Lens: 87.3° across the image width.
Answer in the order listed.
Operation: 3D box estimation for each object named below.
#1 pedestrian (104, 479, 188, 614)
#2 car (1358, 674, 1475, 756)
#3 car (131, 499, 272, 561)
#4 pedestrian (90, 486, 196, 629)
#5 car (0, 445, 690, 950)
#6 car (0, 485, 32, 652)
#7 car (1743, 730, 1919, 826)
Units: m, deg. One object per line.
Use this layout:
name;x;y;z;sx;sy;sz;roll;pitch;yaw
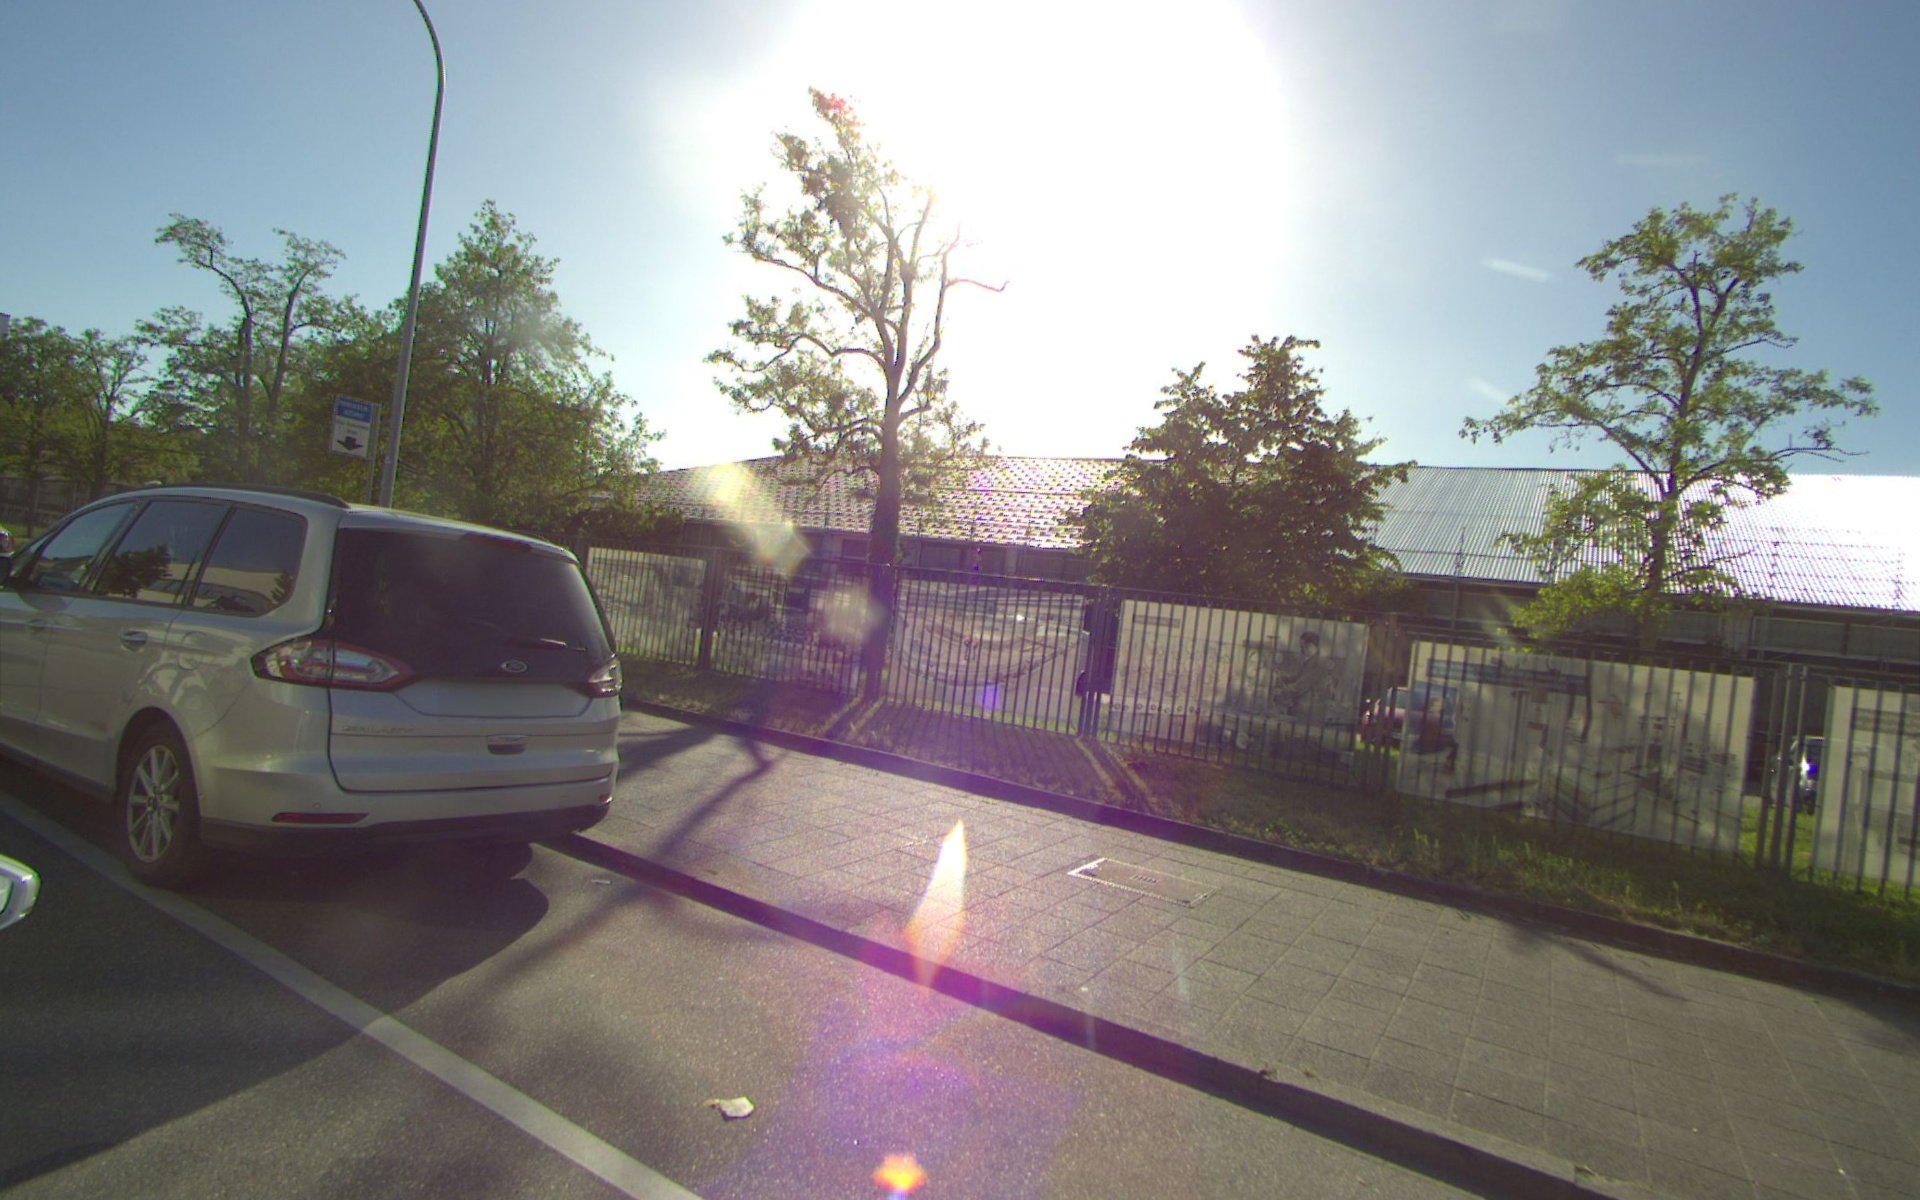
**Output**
pedestrian;-10.977;-0.717;13.572;0.513;1.727;0.522;6;-2;29
car;9.510;2.389;20.775;1.797;1.265;4.156;7;-3;29
car;-39.040;-3.553;51.906;1.970;2.228;5.286;8;-1;37
pedestrian;-10.058;-0.513;12.392;0.531;1.629;0.683;6;-2;29
car;-3.926;0.249;5.573;4.625;1.741;1.814;7;-2;31
car;-11.553;-0.605;10.382;4.281;1.624;1.704;7;-2;32
car;15.751;3.135;18.108;1.847;1.265;4.156;7;-3;29
